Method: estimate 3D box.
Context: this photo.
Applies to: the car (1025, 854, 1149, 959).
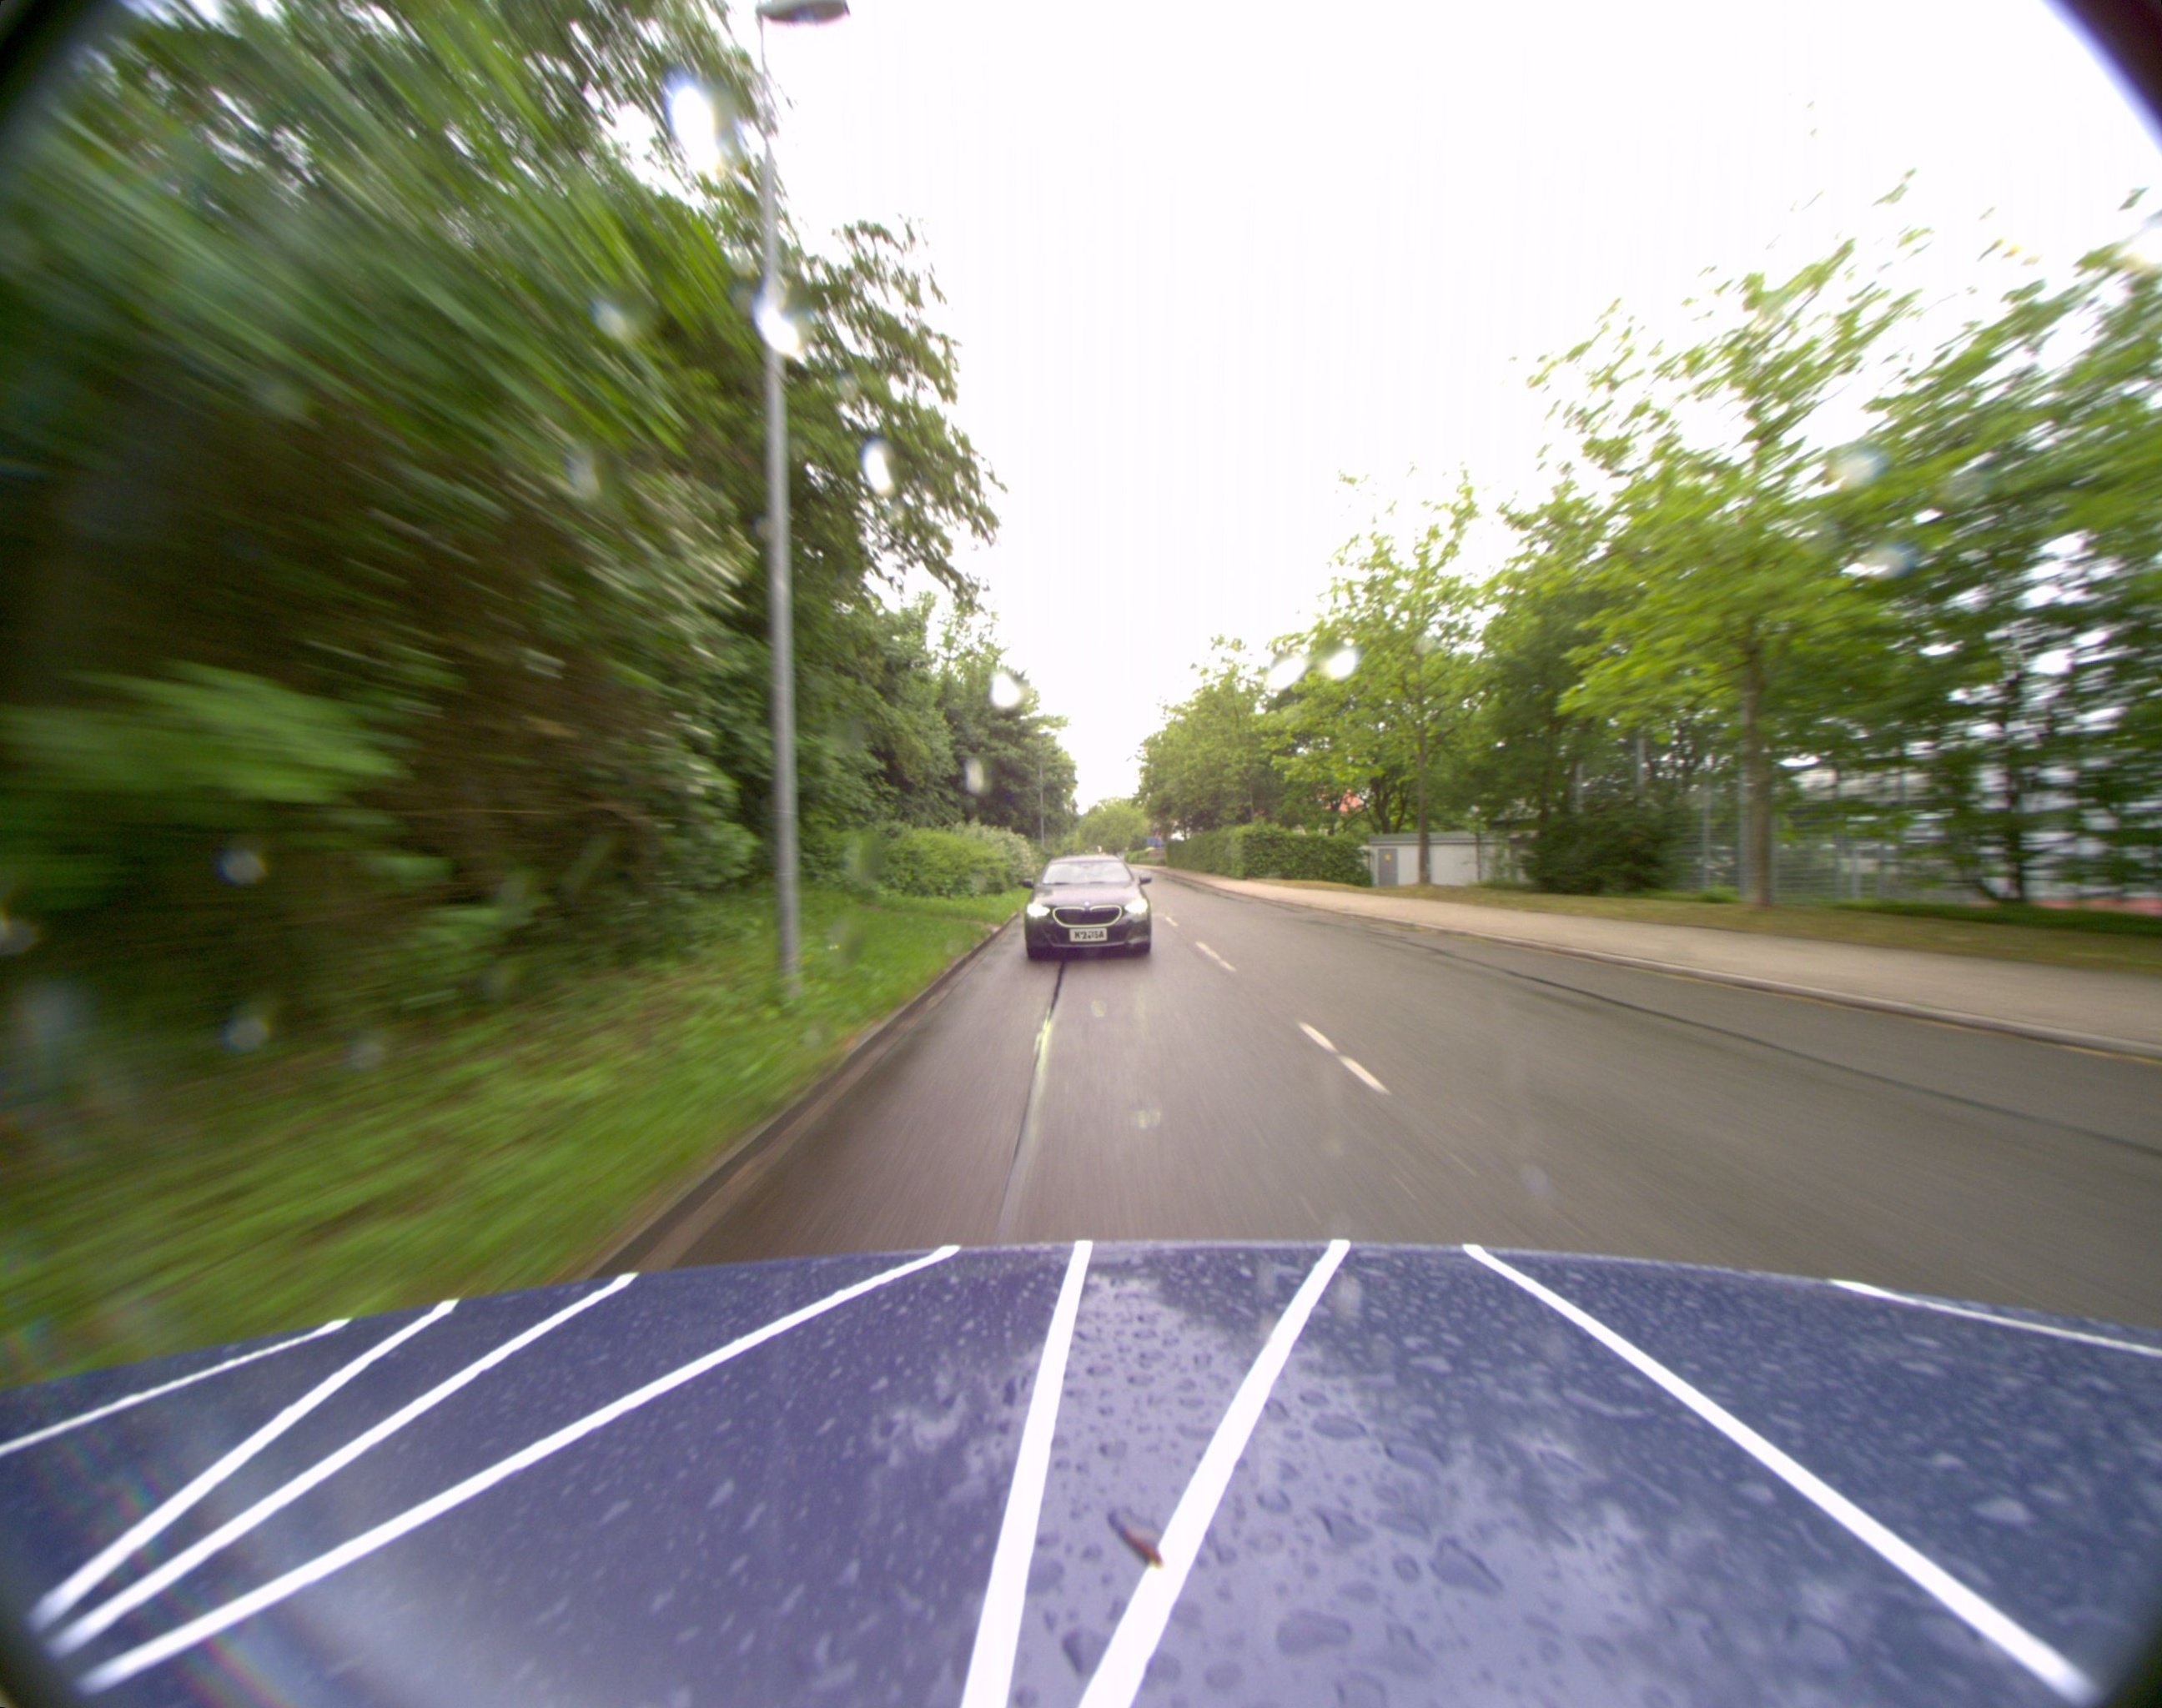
[{"bbox_3d":[0.077,0.791,13.735,1.832,1.499,4.497,-2,1,0],"label":"car"}]
